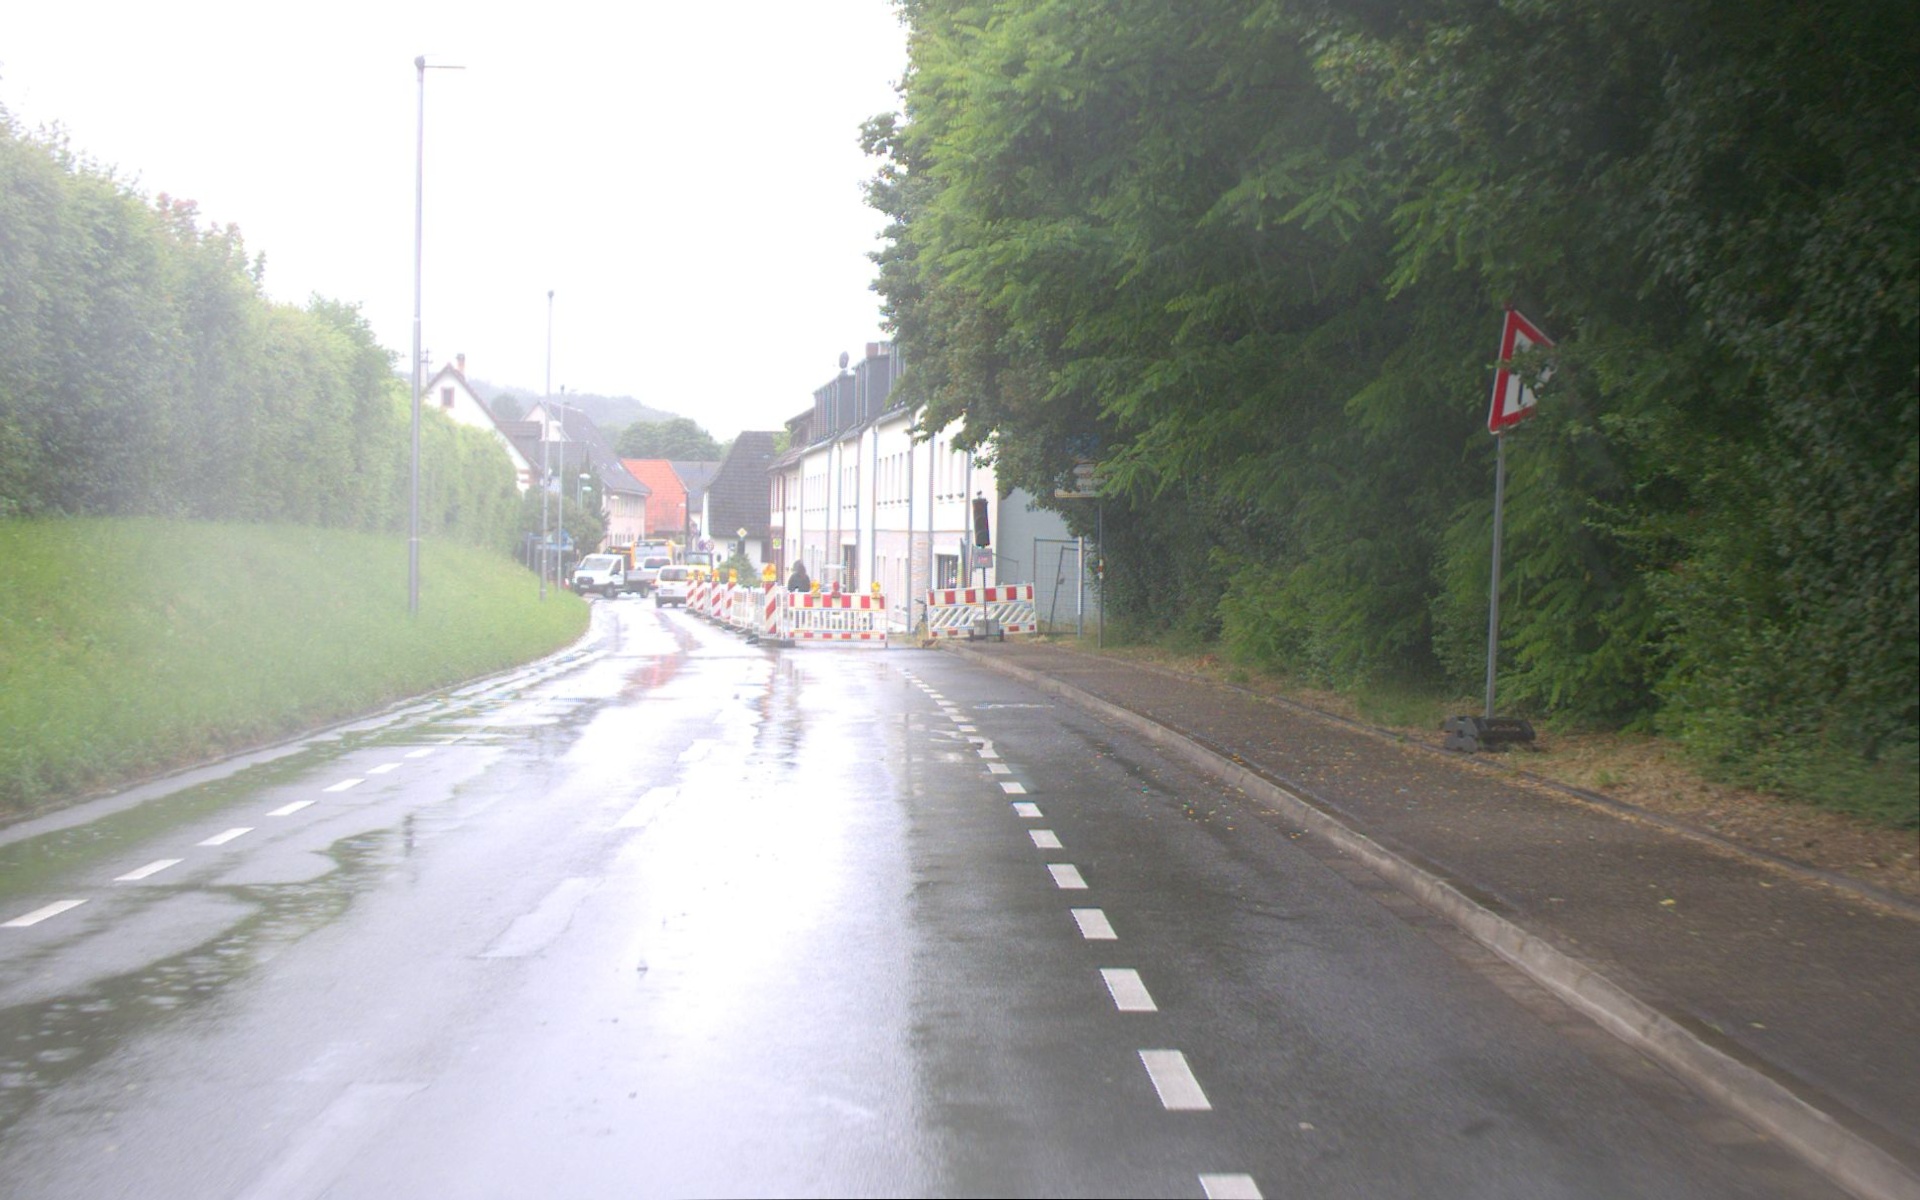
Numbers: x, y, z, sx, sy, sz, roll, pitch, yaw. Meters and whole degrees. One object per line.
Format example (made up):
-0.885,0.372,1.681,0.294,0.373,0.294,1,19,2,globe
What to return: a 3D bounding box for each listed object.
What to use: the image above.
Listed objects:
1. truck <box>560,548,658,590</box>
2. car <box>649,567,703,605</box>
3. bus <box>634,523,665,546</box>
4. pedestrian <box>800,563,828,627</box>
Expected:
-17.979,-1.578,176.076,1.998,2.006,4.892,4,2,41,truck
-12.399,-0.622,150.425,1.993,1.605,4.000,0,1,0,car
-19.135,-4.050,211.776,1.794,1.405,4.001,0,1,-3,bus
-4.081,-0.149,95.931,0.665,1.749,0.812,0,1,-11,pedestrian
